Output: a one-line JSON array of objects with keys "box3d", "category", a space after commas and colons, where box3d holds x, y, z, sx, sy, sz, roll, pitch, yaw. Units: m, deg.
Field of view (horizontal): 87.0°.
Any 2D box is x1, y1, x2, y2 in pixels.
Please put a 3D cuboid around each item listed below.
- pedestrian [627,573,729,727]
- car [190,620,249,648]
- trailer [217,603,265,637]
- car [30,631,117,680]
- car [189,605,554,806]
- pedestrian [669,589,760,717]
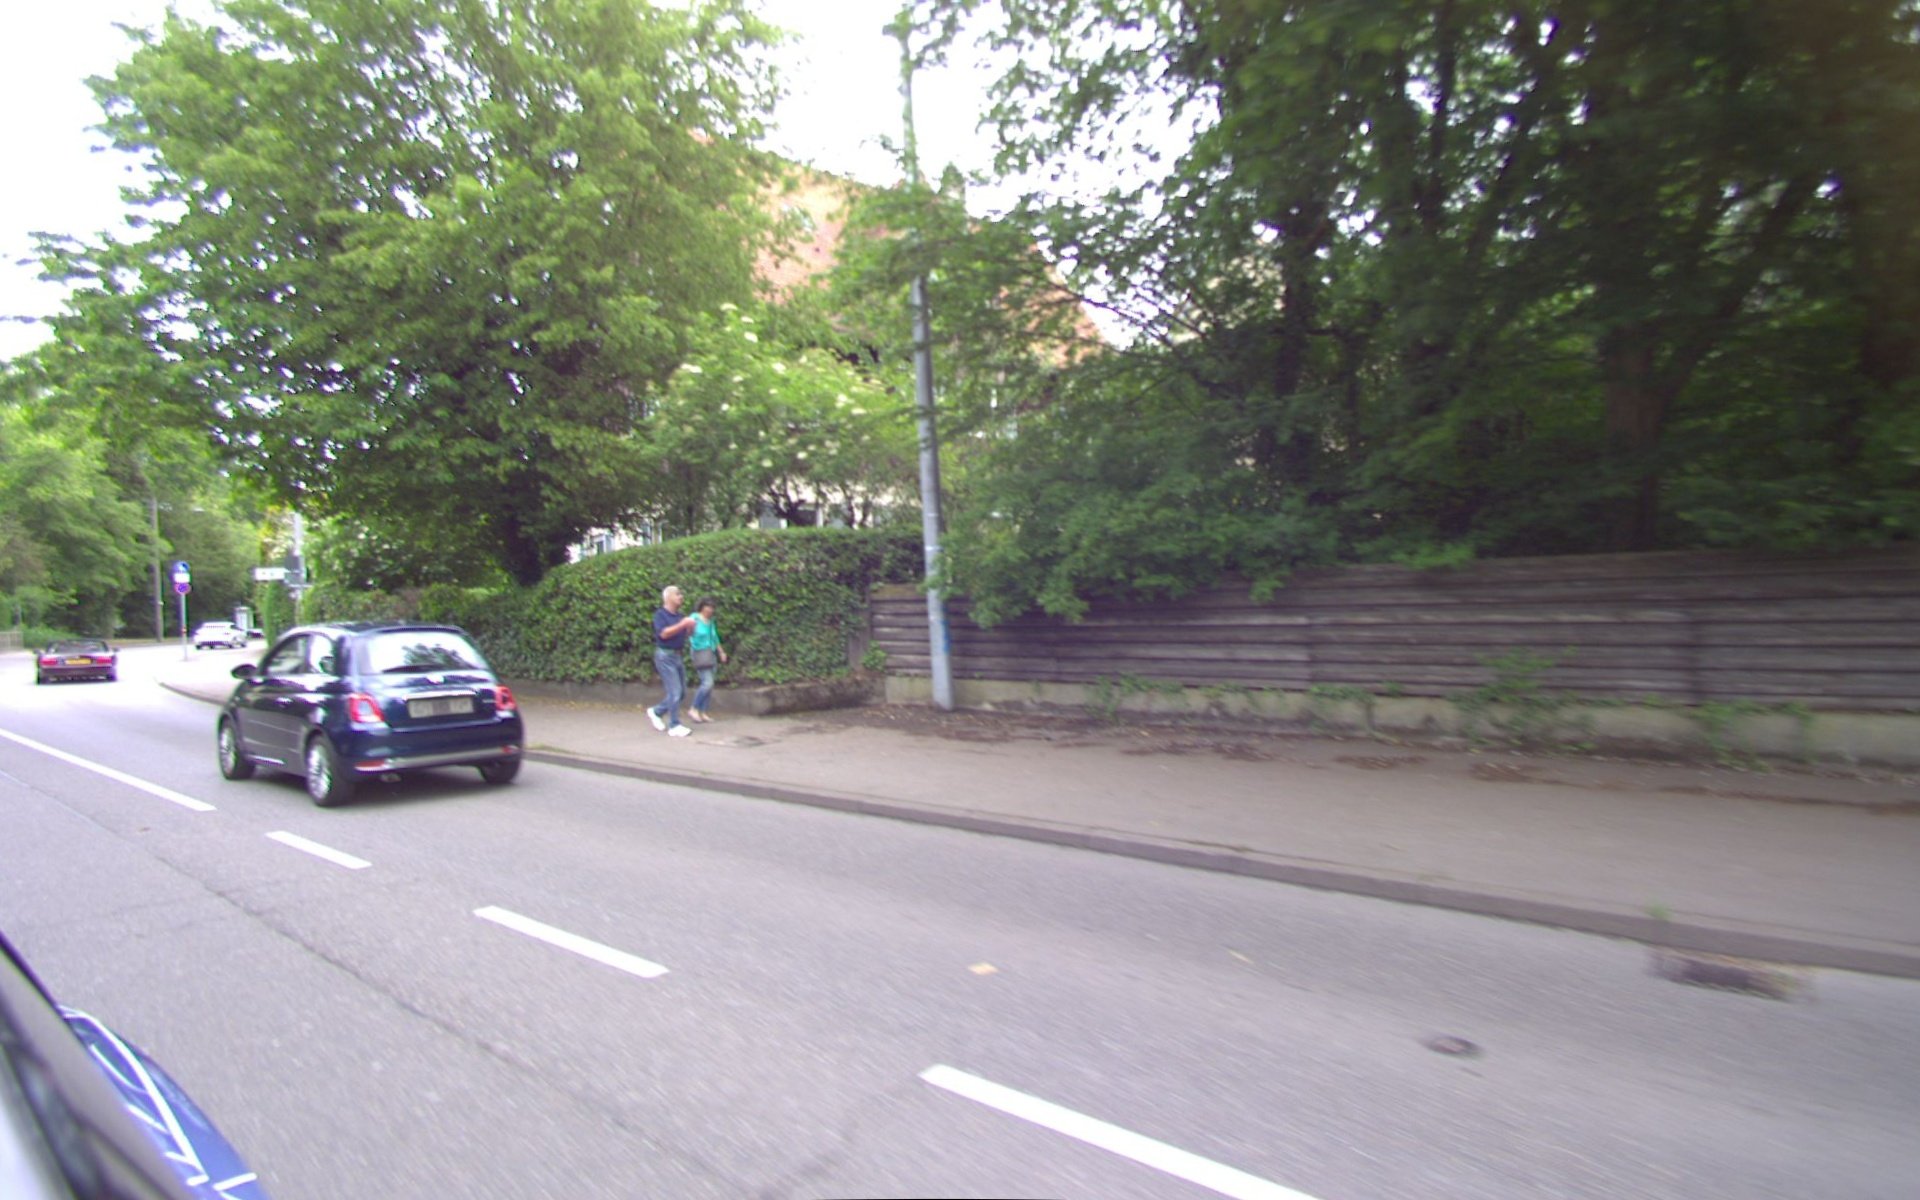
[{"box3d": [-3.207, 0.543, 11.517, 0.915, 1.674, 0.625, -1, 1, 27], "category": "pedestrian"}, {"box3d": [-41.653, 1.872, 57.037, 1.782, 1.454, 4.212, 0, -1, -23], "category": "car"}, {"box3d": [-63.222, 1.760, 89.035, 3.073, 2.921, 1.598, -2, 0, -17], "category": "trailer"}, {"box3d": [-24.012, 1.467, 27.460, 1.670, 1.186, 3.792, 0, -1, -41], "category": "car"}, {"box3d": [-5.433, 0.819, 9.215, 3.526, 1.483, 1.703, -2, -1, 38], "category": "car"}, {"box3d": [-2.957, 0.625, 12.228, 0.754, 1.460, 0.665, -1, 2, 27], "category": "pedestrian"}]
